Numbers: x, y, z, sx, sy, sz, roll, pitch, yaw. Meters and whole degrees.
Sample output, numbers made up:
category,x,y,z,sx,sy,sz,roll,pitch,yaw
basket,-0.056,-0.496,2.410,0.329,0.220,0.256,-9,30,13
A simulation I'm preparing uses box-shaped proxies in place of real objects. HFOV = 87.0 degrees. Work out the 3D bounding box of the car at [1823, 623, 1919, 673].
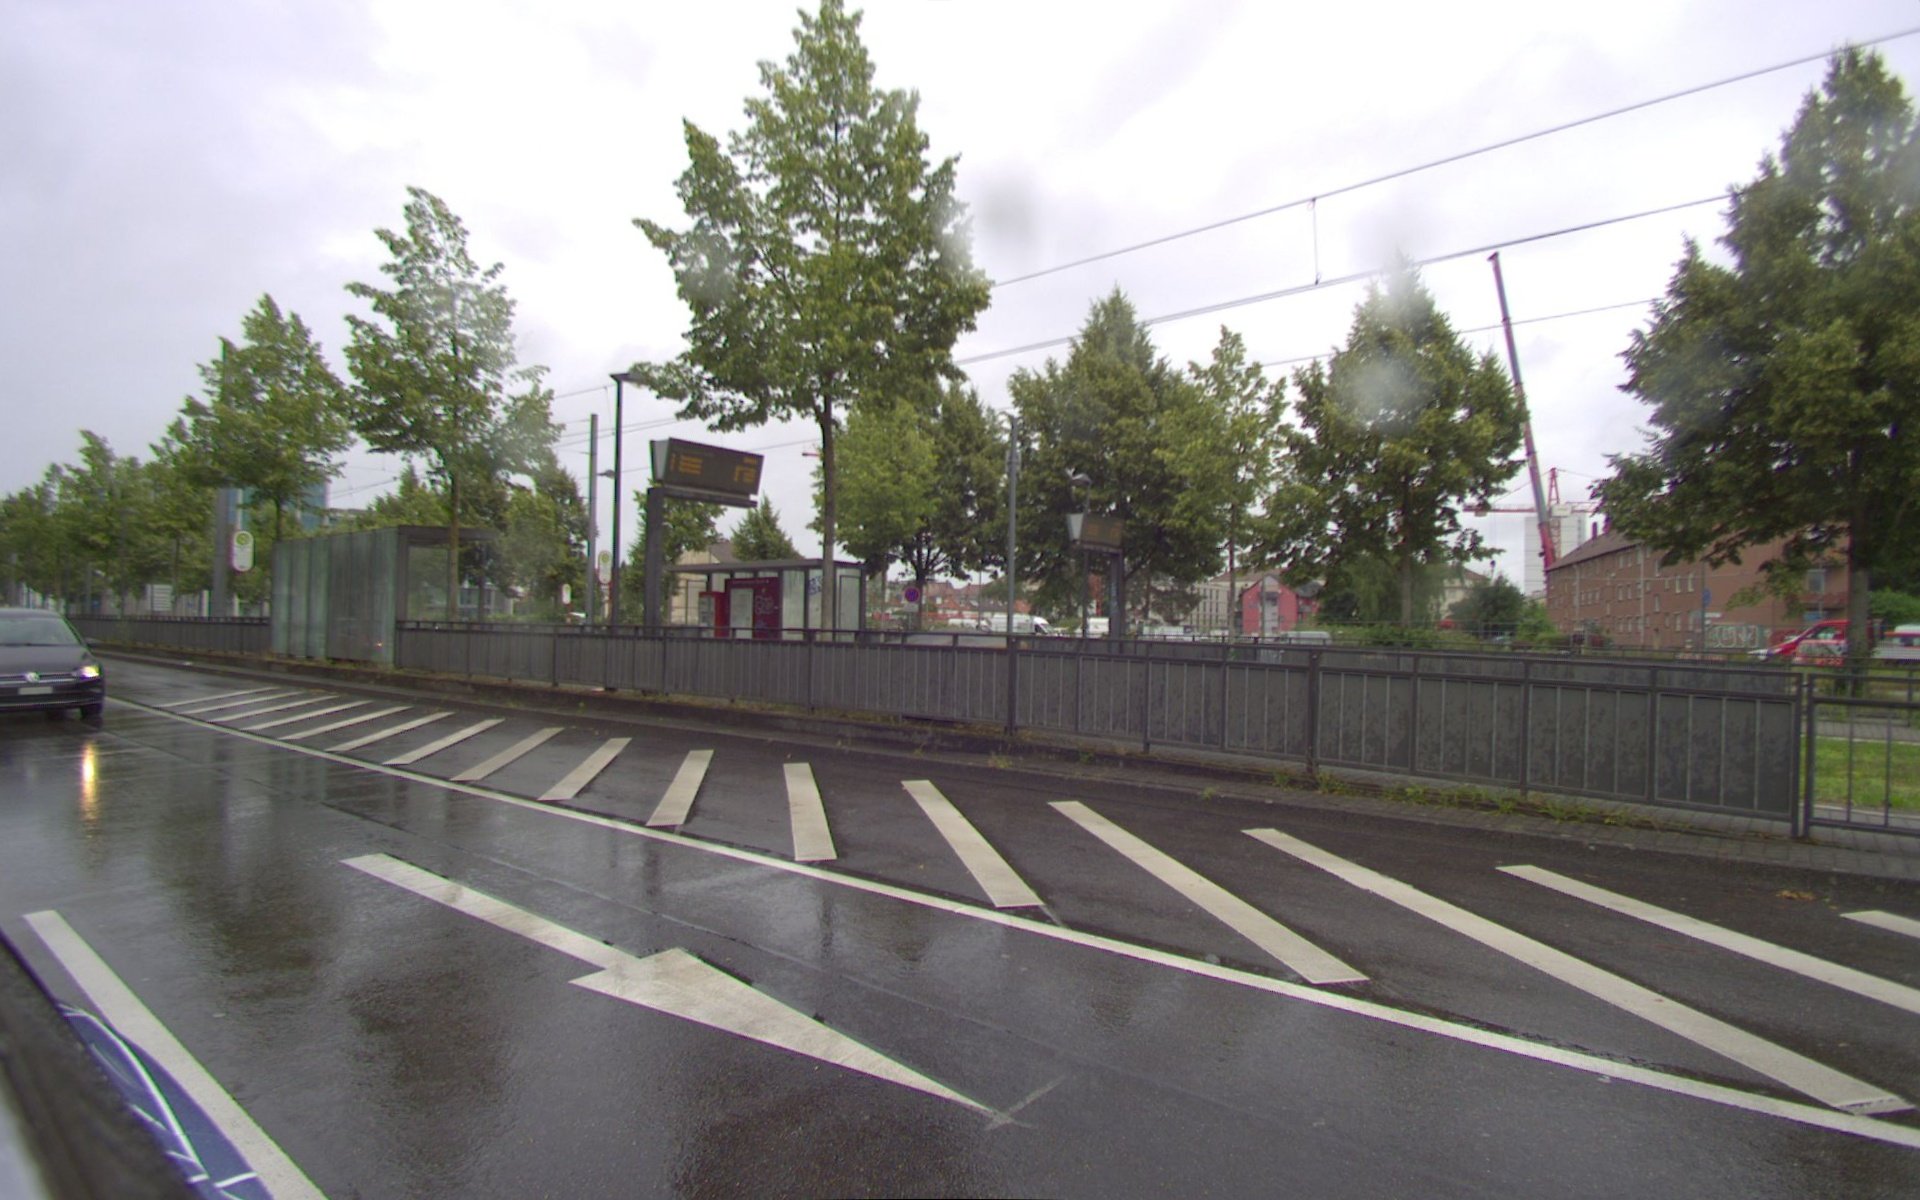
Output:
category,x,y,z,sx,sy,sz,roll,pitch,yaw
car,40.102,1.979,41.777,2.319,2.029,6.440,2,-3,-38

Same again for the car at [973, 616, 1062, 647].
category,x,y,z,sx,sy,sz,roll,pitch,yaw
car,4.835,2.662,86.313,7.627,2.495,2.327,-1,0,38

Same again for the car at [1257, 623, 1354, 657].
category,x,y,z,sx,sy,sz,roll,pitch,yaw
car,26.572,3.037,77.943,6.804,2.495,2.335,0,-2,28

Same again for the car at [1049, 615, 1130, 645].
category,x,y,z,sx,sy,sz,roll,pitch,yaw
car,11.368,2.575,89.368,6.826,2.495,2.470,-1,0,38

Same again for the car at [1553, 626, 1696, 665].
category,x,y,z,sx,sy,sz,roll,pitch,yaw
car,36.925,2.482,56.499,6.393,2.029,2.336,-1,0,26

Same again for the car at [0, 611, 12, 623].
category,x,y,z,sx,sy,sz,roll,pitch,yaw
car,-170.258,3.080,180.109,3.999,2.029,1.972,-1,0,42

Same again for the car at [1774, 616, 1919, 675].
category,x,y,z,sx,sy,sz,roll,pitch,yaw
car,34.695,1.668,37.692,2.319,2.029,6.441,-1,0,-38

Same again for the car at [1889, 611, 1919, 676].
category,x,y,z,sx,sy,sz,roll,pitch,yaw
car,46.082,1.982,45.214,2.319,2.961,6.441,-1,0,-38

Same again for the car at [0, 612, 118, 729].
category,x,y,z,sx,sy,sz,roll,pitch,yaw
car,-14.214,0.968,15.035,4.326,1.529,1.766,-1,0,38
